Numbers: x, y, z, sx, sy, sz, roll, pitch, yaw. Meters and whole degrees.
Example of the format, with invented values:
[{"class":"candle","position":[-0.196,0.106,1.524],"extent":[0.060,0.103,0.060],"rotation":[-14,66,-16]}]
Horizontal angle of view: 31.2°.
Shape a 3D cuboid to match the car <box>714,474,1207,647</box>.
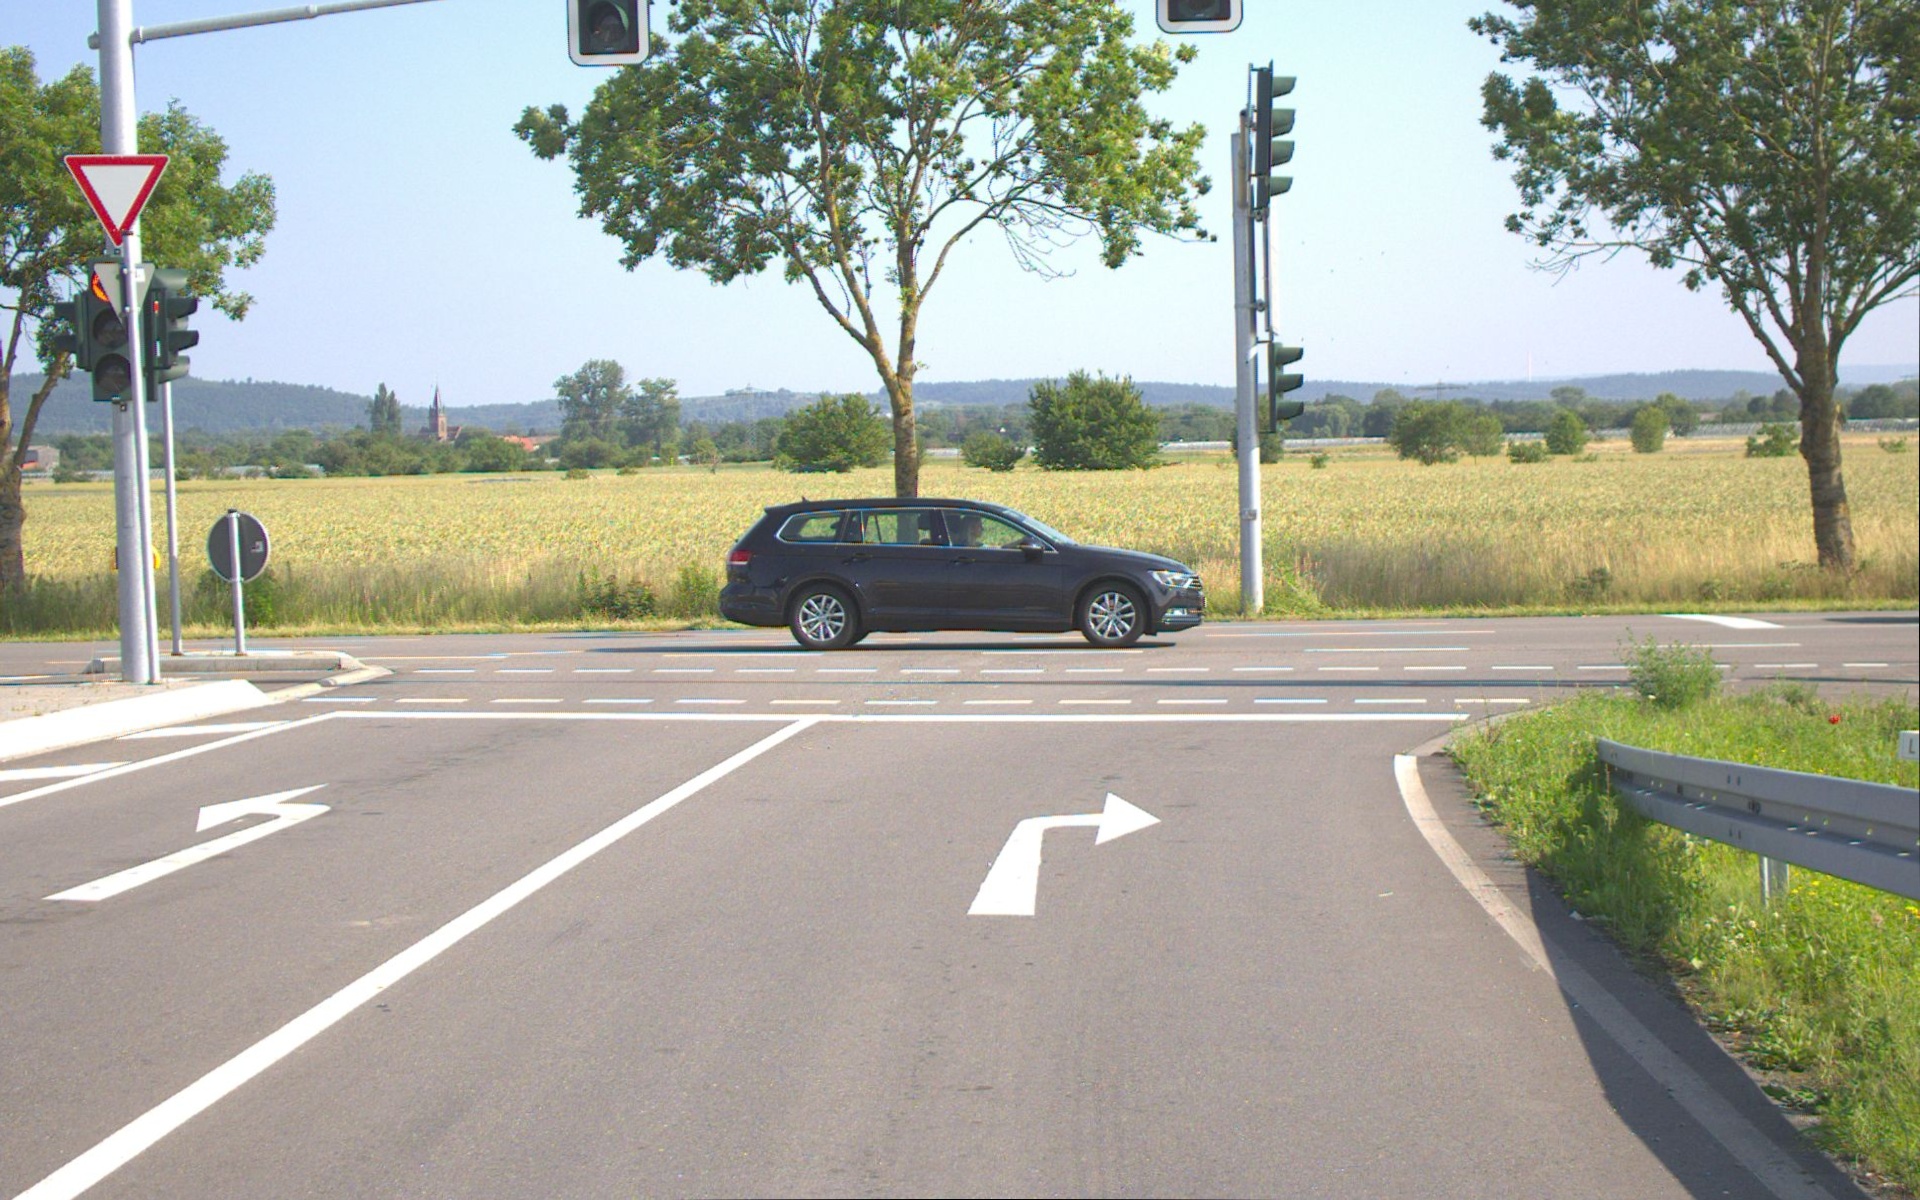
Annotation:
[{"class":"car","position":[0.065,-0.407,33.652],"extent":[4.673,1.513,1.922],"rotation":[-1,3,4]}]
